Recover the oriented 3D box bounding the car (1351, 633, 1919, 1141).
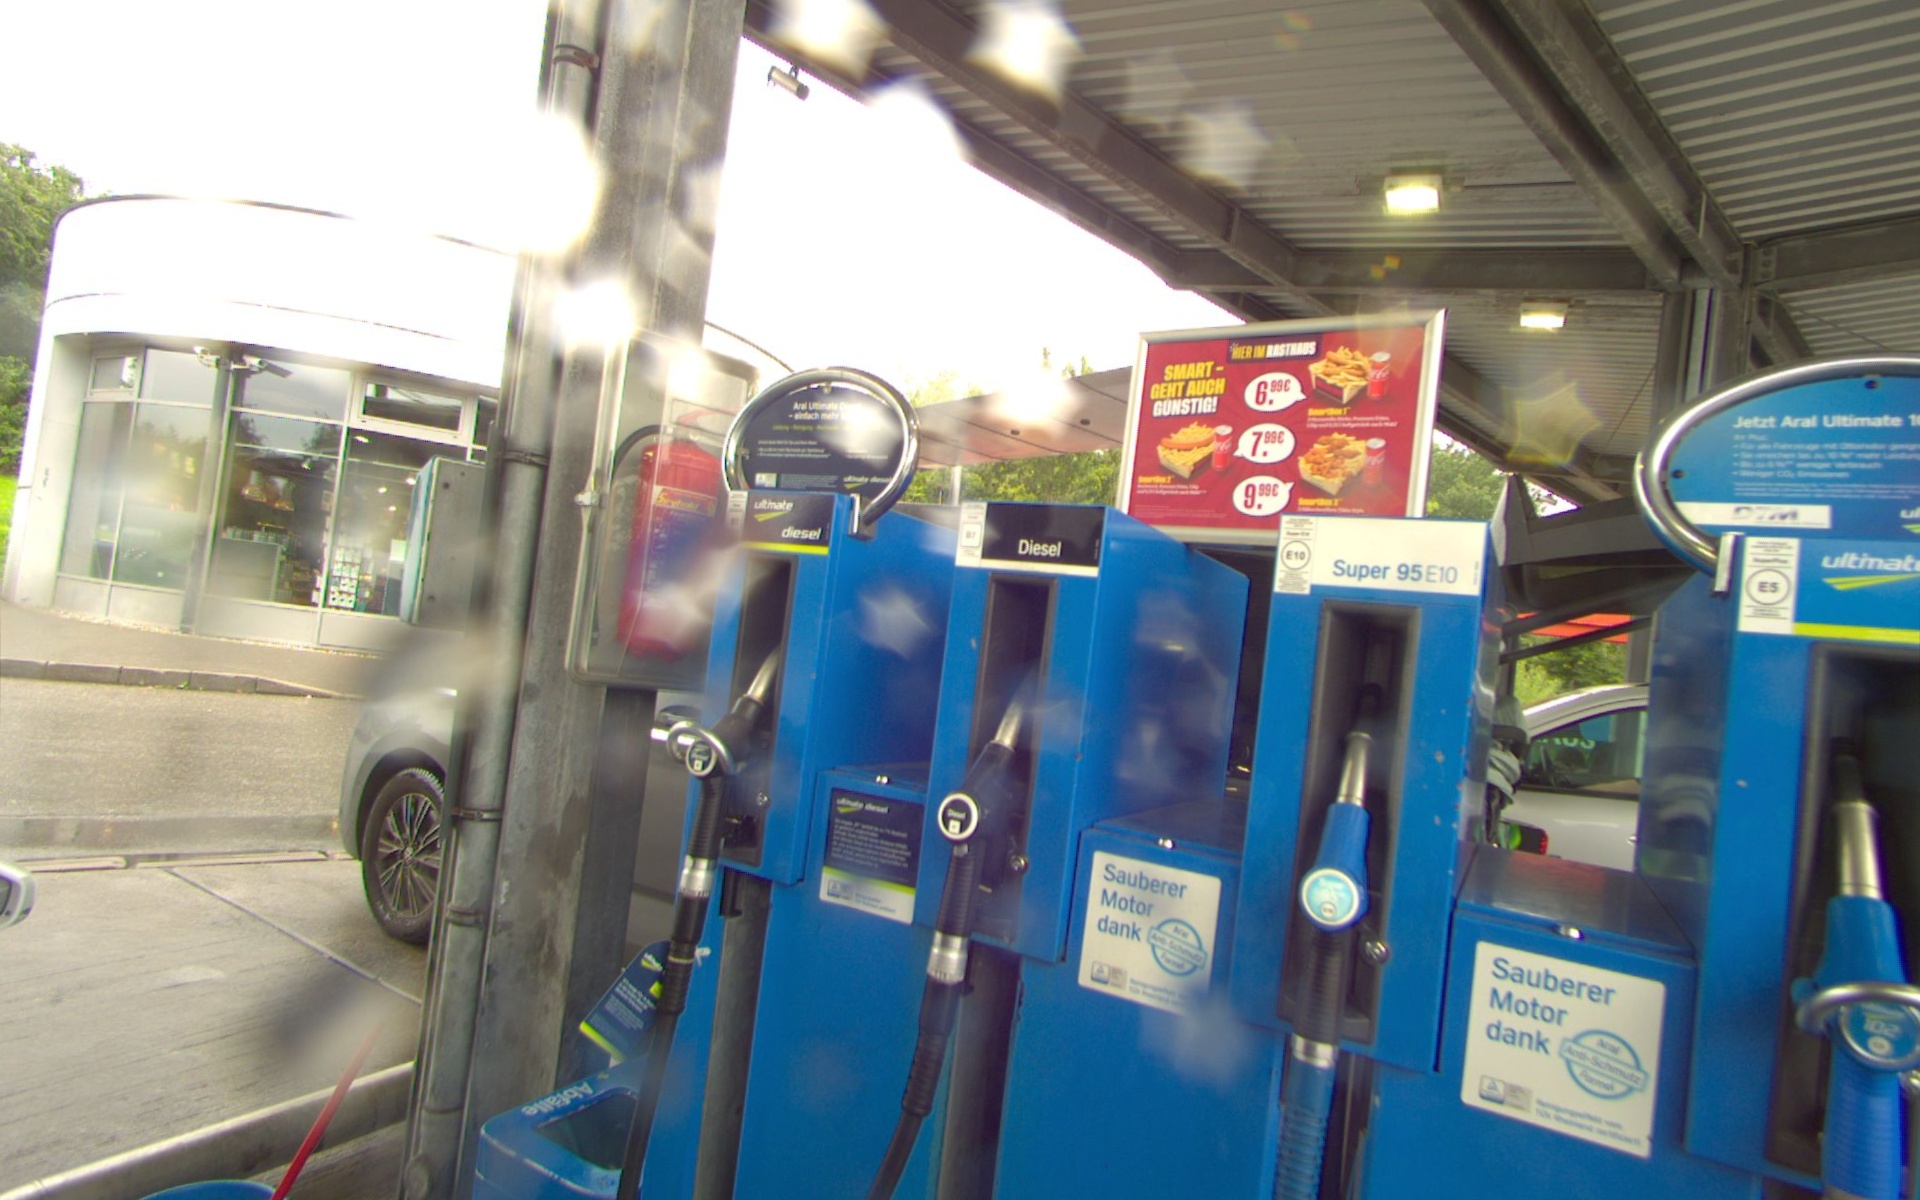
[{"bbox_3d":[4.486,1.370,4.820,4.464,1.819,1.865,6,-2,32],"label":"car"}]

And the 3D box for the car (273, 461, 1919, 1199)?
[{"bbox_3d":[-0.151,0.645,3.677,5.055,1.819,1.865,6,-2,32],"label":"car"}]
